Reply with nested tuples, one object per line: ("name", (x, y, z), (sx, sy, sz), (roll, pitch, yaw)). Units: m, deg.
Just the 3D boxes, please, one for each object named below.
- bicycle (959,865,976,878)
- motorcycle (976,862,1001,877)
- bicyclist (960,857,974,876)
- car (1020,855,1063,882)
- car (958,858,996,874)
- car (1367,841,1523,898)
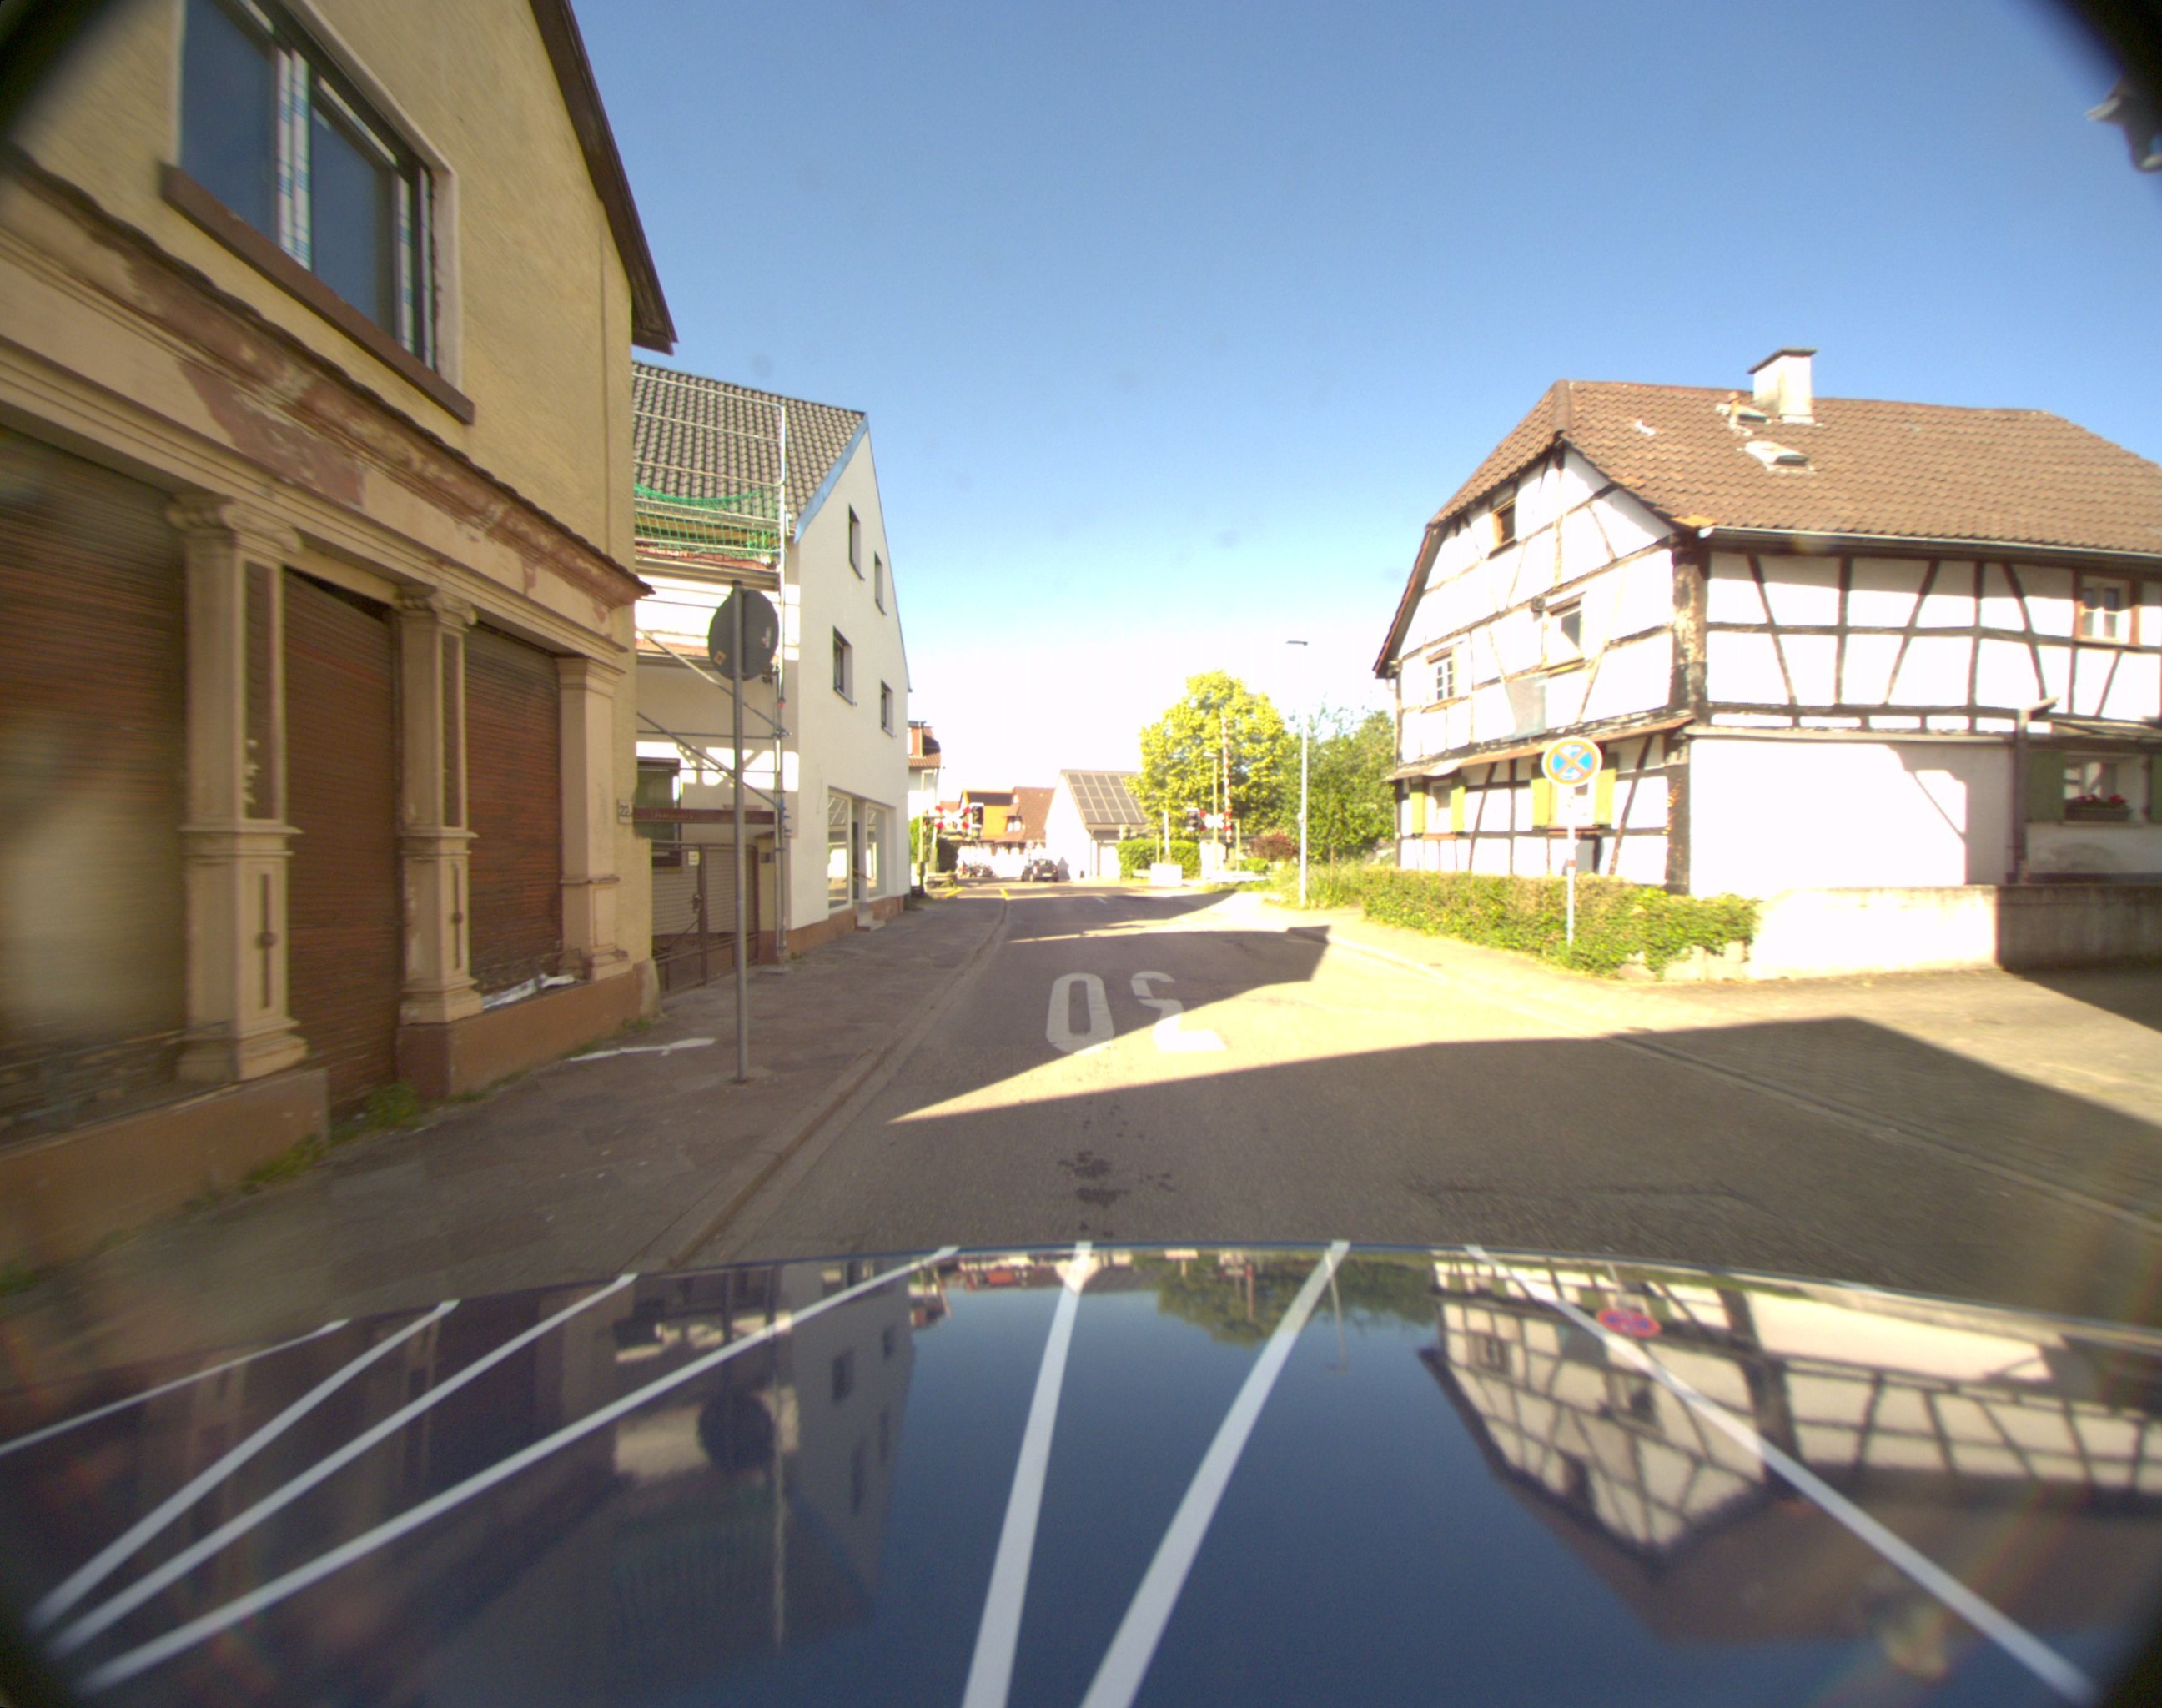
("bicycle", (-9.587, 1.470, 64.006), (0.887, 0.999, 2.058), (-3, 2, -23))
("motorcycle", (-7.838, 1.281, 64.236), (1.990, 1.224, 0.627), (-1, 0, 19))
("bicyclist", (-9.610, 1.074, 63.975), (0.852, 1.532, 0.871), (-3, 2, -23))
("car", (-2.479, 0.864, 47.170), (1.693, 1.502, 3.648), (-3, 2, -19))
("car", (-9.284, 1.036, 67.447), (1.853, 1.398, 5.025), (0, 0, -25))
("car", (11.132, 0.472, 23.365), (3.989, 1.555, 1.692), (-1, 2, 41))
